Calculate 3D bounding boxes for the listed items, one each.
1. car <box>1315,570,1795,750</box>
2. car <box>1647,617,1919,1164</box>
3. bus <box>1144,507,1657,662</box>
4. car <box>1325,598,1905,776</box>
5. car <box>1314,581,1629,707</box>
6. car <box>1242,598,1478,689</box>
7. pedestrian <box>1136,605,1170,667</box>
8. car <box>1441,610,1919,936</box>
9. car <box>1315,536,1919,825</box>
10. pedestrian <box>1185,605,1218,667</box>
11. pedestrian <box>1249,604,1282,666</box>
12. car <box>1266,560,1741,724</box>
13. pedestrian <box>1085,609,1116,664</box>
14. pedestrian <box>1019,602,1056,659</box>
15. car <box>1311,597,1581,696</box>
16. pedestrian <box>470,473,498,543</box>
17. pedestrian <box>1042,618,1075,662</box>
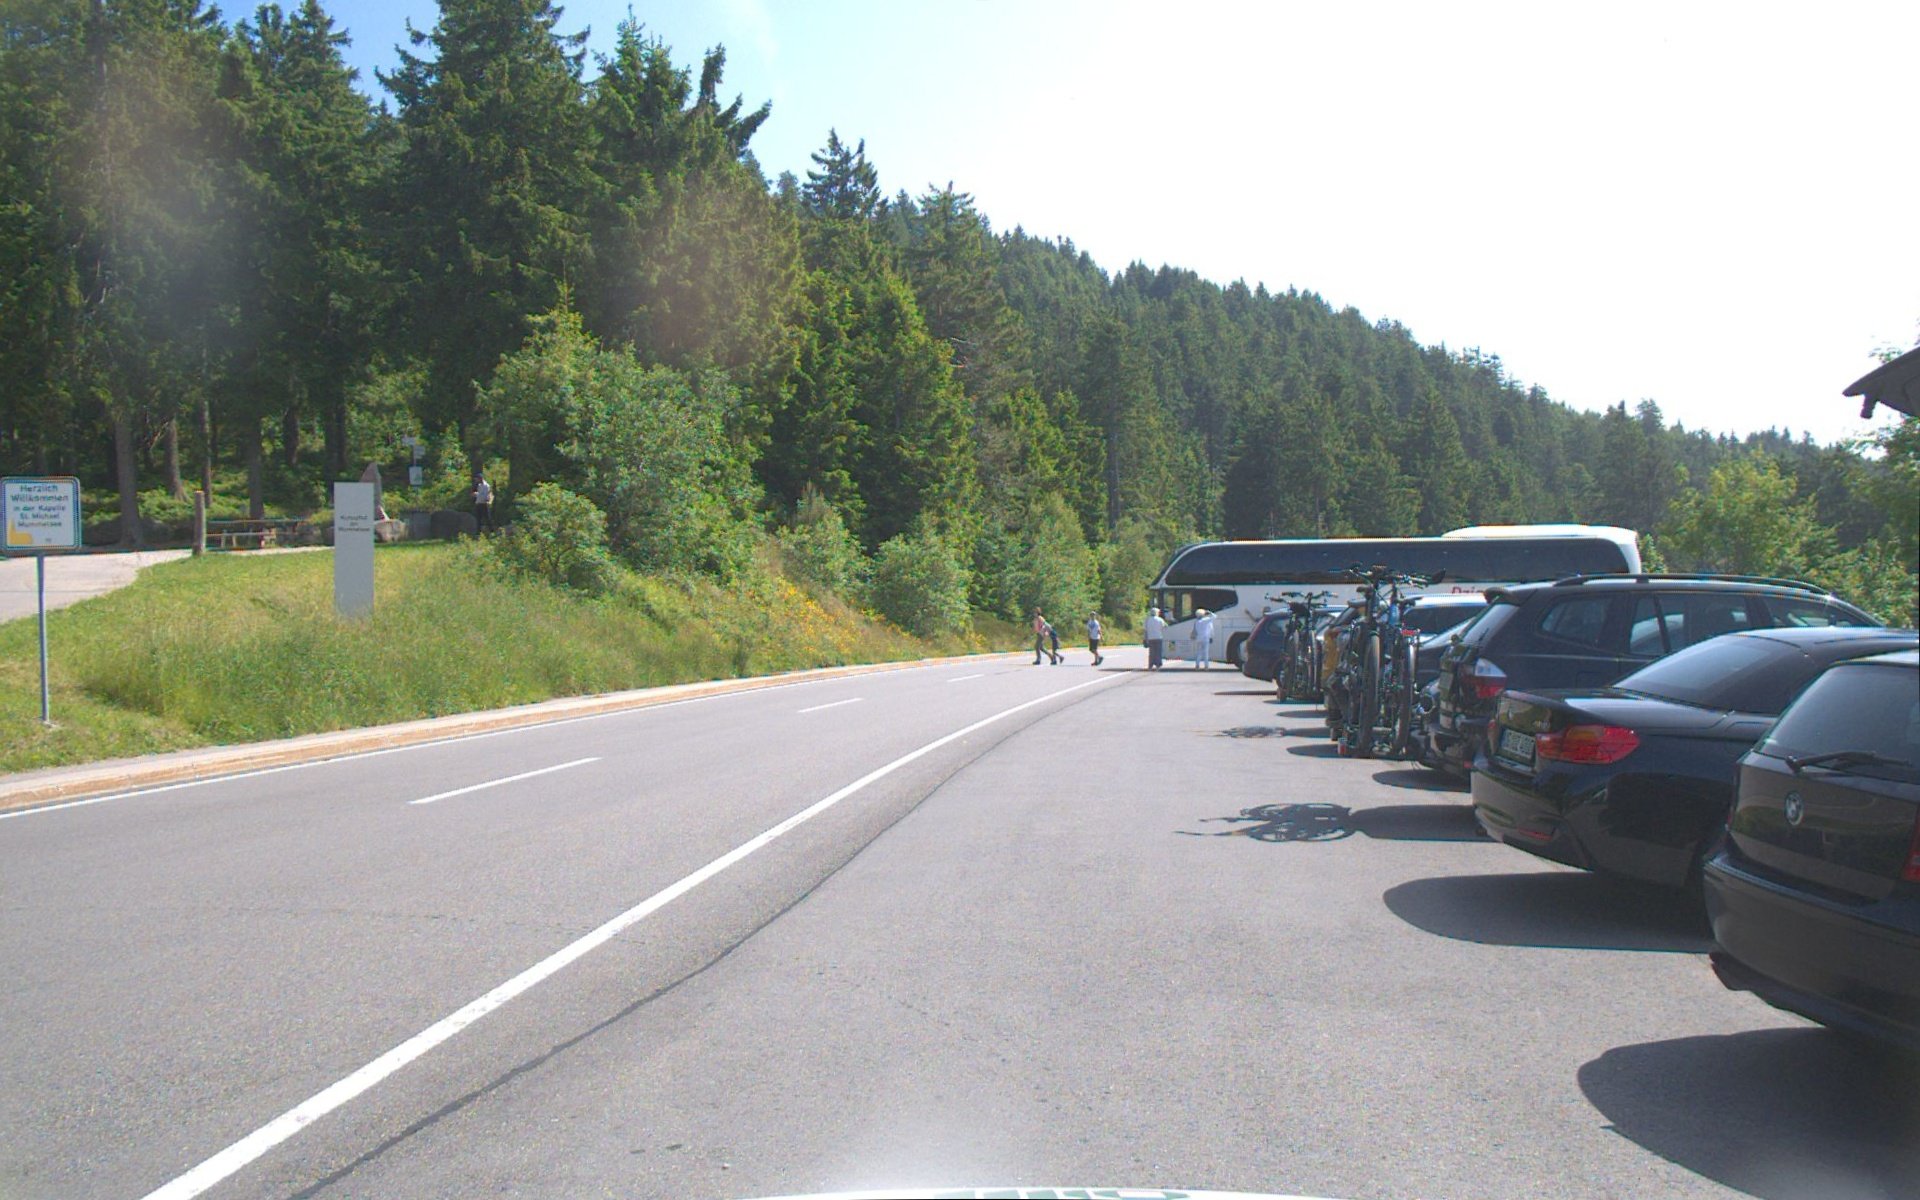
[{"bbox_3d":[5.743,0.577,16.436,4.153,1.581,1.839,-2,0,7],"label":"car"},{"bbox_3d":[4.468,0.793,5.091,3.999,1.400,1.702,1,0,-2],"label":"car"},{"bbox_3d":[11.611,-0.314,44.491,12.818,3.594,3.045,-2,-1,18],"label":"bus"},{"bbox_3d":[5.258,0.695,13.808,4.153,1.291,1.839,-2,0,7],"label":"car"},{"bbox_3d":[6.981,0.601,22.896,3.902,1.581,1.661,-2,0,7],"label":"car"},{"bbox_3d":[7.086,0.770,29.674,3.902,1.474,1.862,-2,0,7],"label":"car"},{"bbox_3d":[5.131,0.951,43.964,0.754,1.613,0.773,-2,-1,14],"label":"pedestrian"},{"bbox_3d":[4.607,0.788,8.135,3.997,1.400,1.702,1,0,1],"label":"car"},{"bbox_3d":[4.895,0.502,11.009,4.843,1.725,1.947,-1,0,10],"label":"car"},{"bbox_3d":[6.390,0.955,43.736,0.754,1.613,0.773,-2,-1,14],"label":"pedestrian"},{"bbox_3d":[8.078,0.924,43.724,0.753,1.613,0.773,-2,-1,15],"label":"pedestrian"},{"bbox_3d":[6.140,0.478,19.279,4.926,1.680,2.049,-2,0,7],"label":"car"},{"bbox_3d":[4.212,1.082,49.660,0.836,1.613,0.818,-2,-1,3],"label":"pedestrian"},{"bbox_3d":[2.404,0.939,51.106,0.841,1.713,0.864,-1,-1,-21],"label":"pedestrian"},{"bbox_3d":[7.672,0.732,26.410,3.902,1.423,1.621,-2,0,7],"label":"car"},{"bbox_3d":[-13.280,-2.567,46.139,0.670,1.910,0.539,-2,-1,-18],"label":"pedestrian"},{"bbox_3d":[3.007,1.208,50.437,0.723,1.302,0.778,-1,-1,-22],"label":"pedestrian"}]
